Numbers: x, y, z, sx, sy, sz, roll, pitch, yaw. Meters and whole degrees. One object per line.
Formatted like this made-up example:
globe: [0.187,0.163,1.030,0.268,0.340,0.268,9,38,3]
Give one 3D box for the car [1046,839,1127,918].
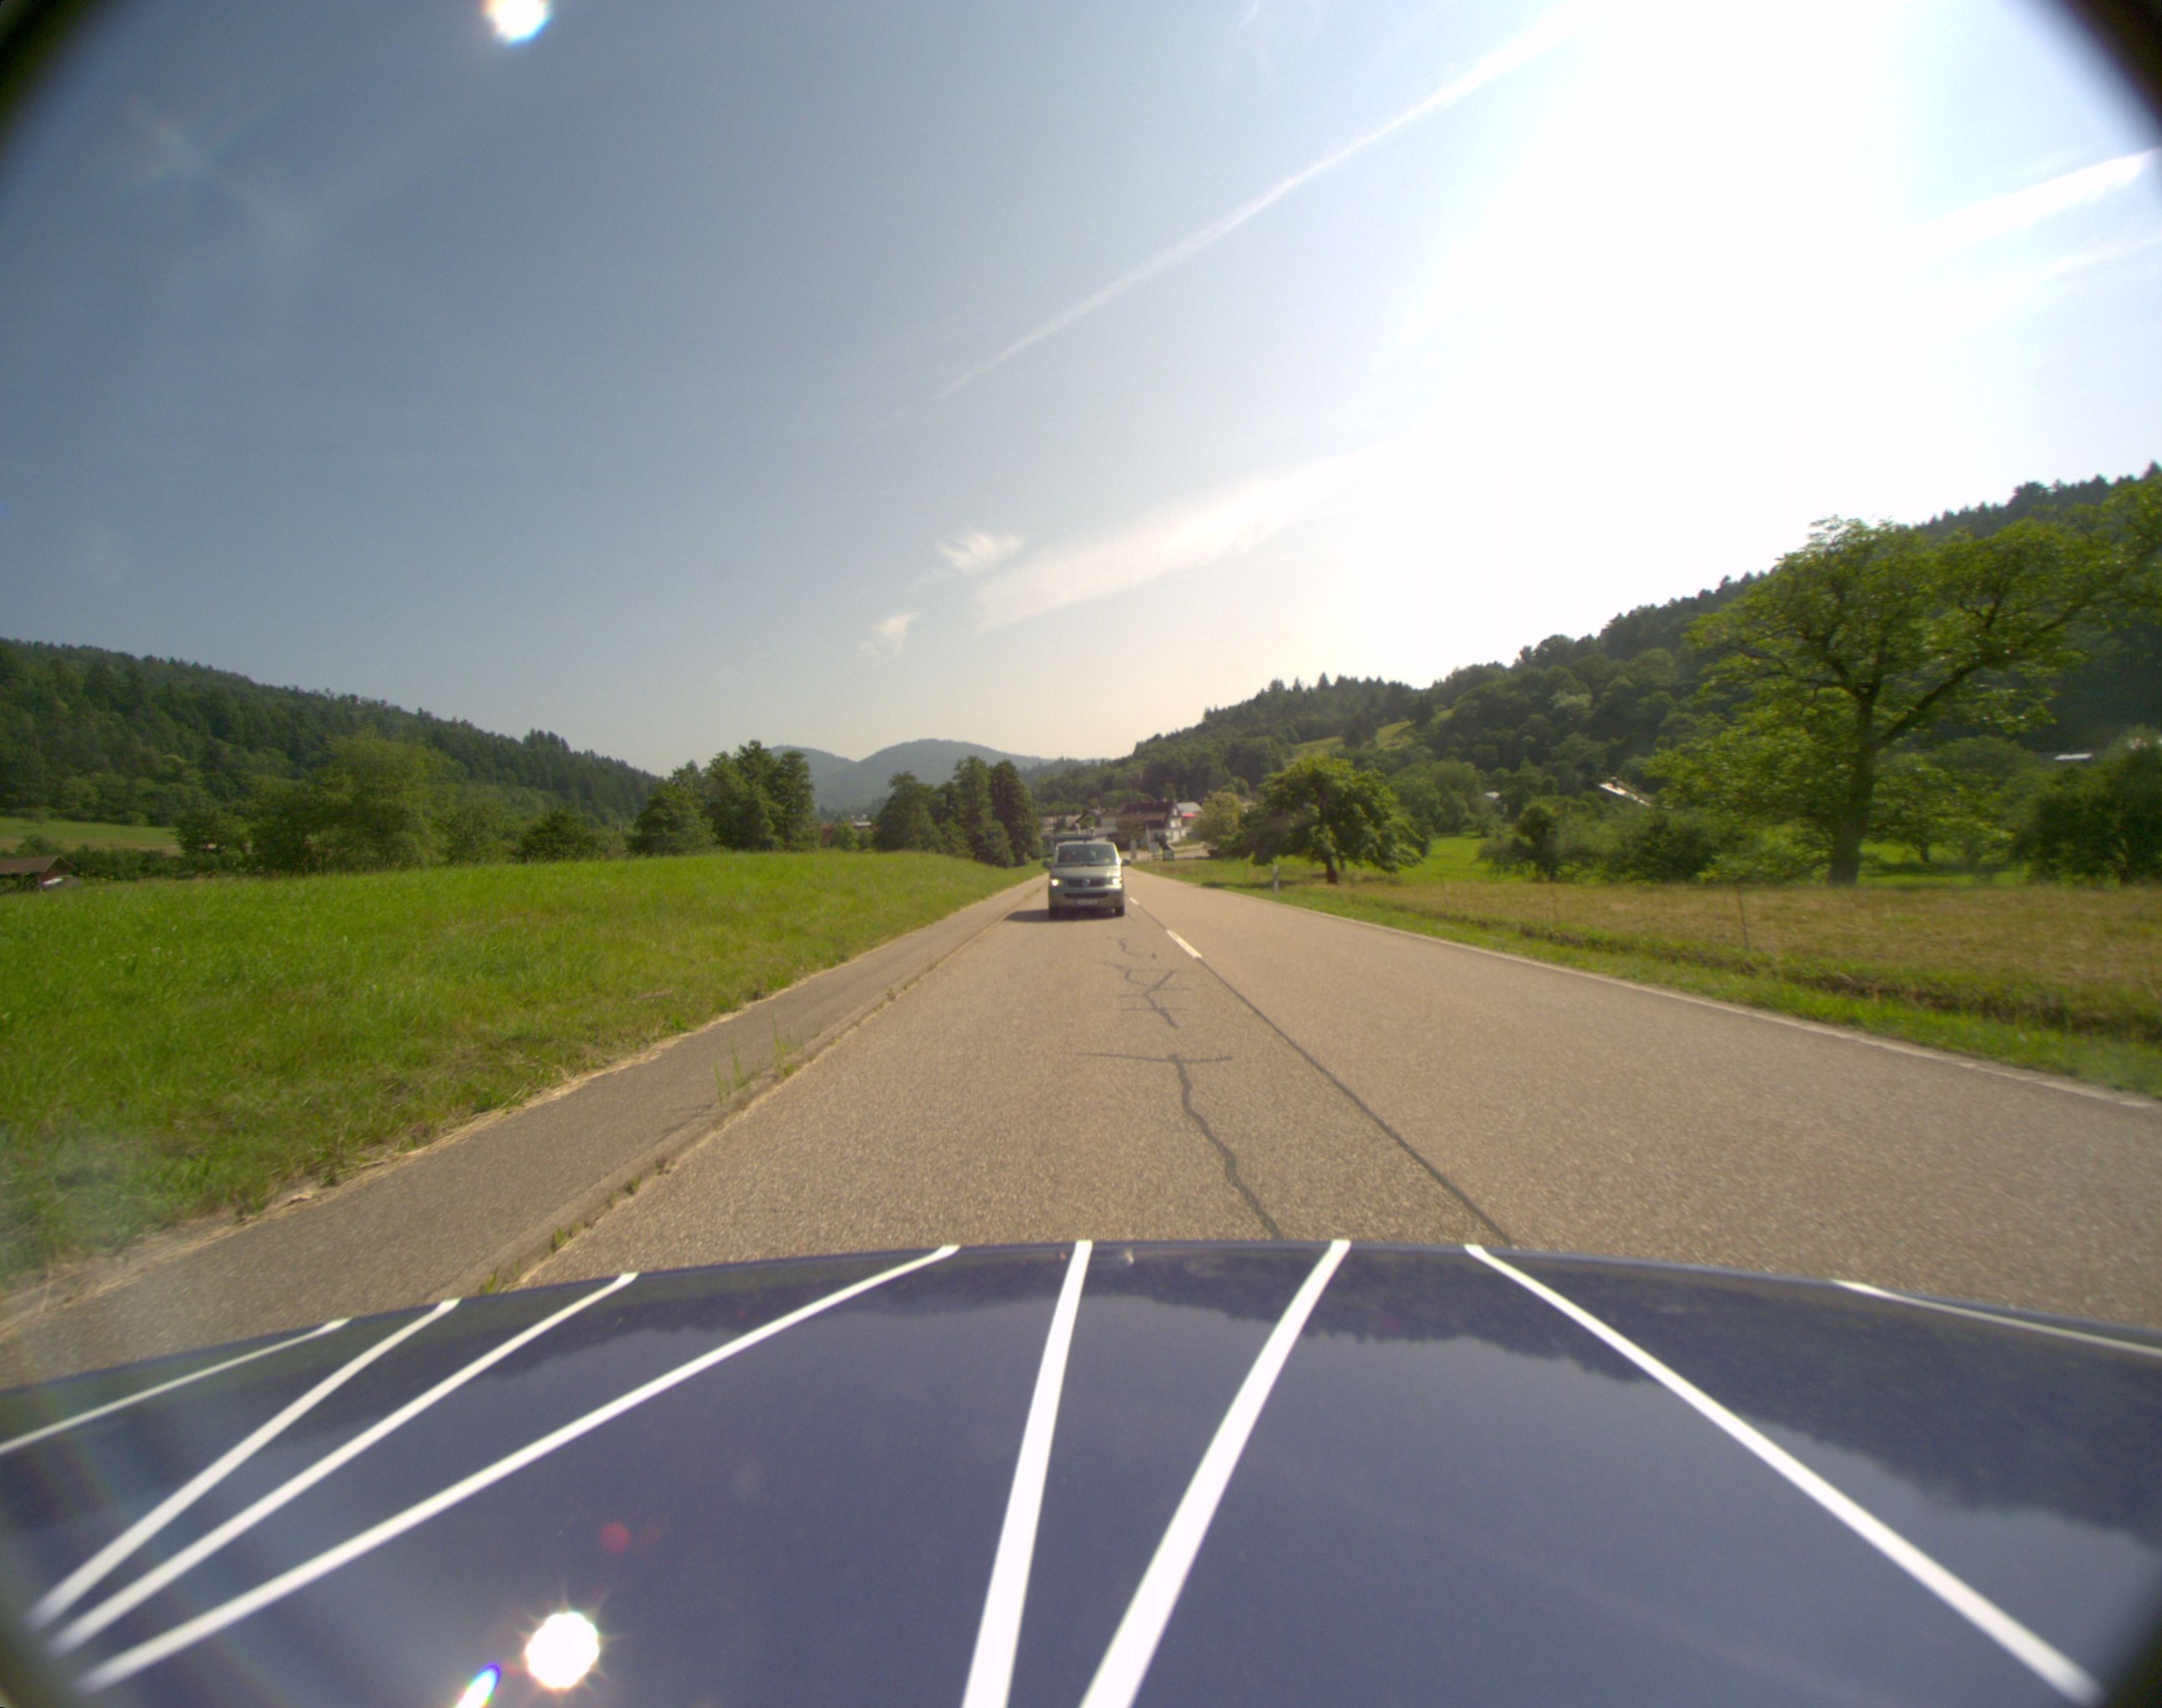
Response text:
car: [0.225,0.618,21.745,2.023,1.970,5.049,-1,0,2]
